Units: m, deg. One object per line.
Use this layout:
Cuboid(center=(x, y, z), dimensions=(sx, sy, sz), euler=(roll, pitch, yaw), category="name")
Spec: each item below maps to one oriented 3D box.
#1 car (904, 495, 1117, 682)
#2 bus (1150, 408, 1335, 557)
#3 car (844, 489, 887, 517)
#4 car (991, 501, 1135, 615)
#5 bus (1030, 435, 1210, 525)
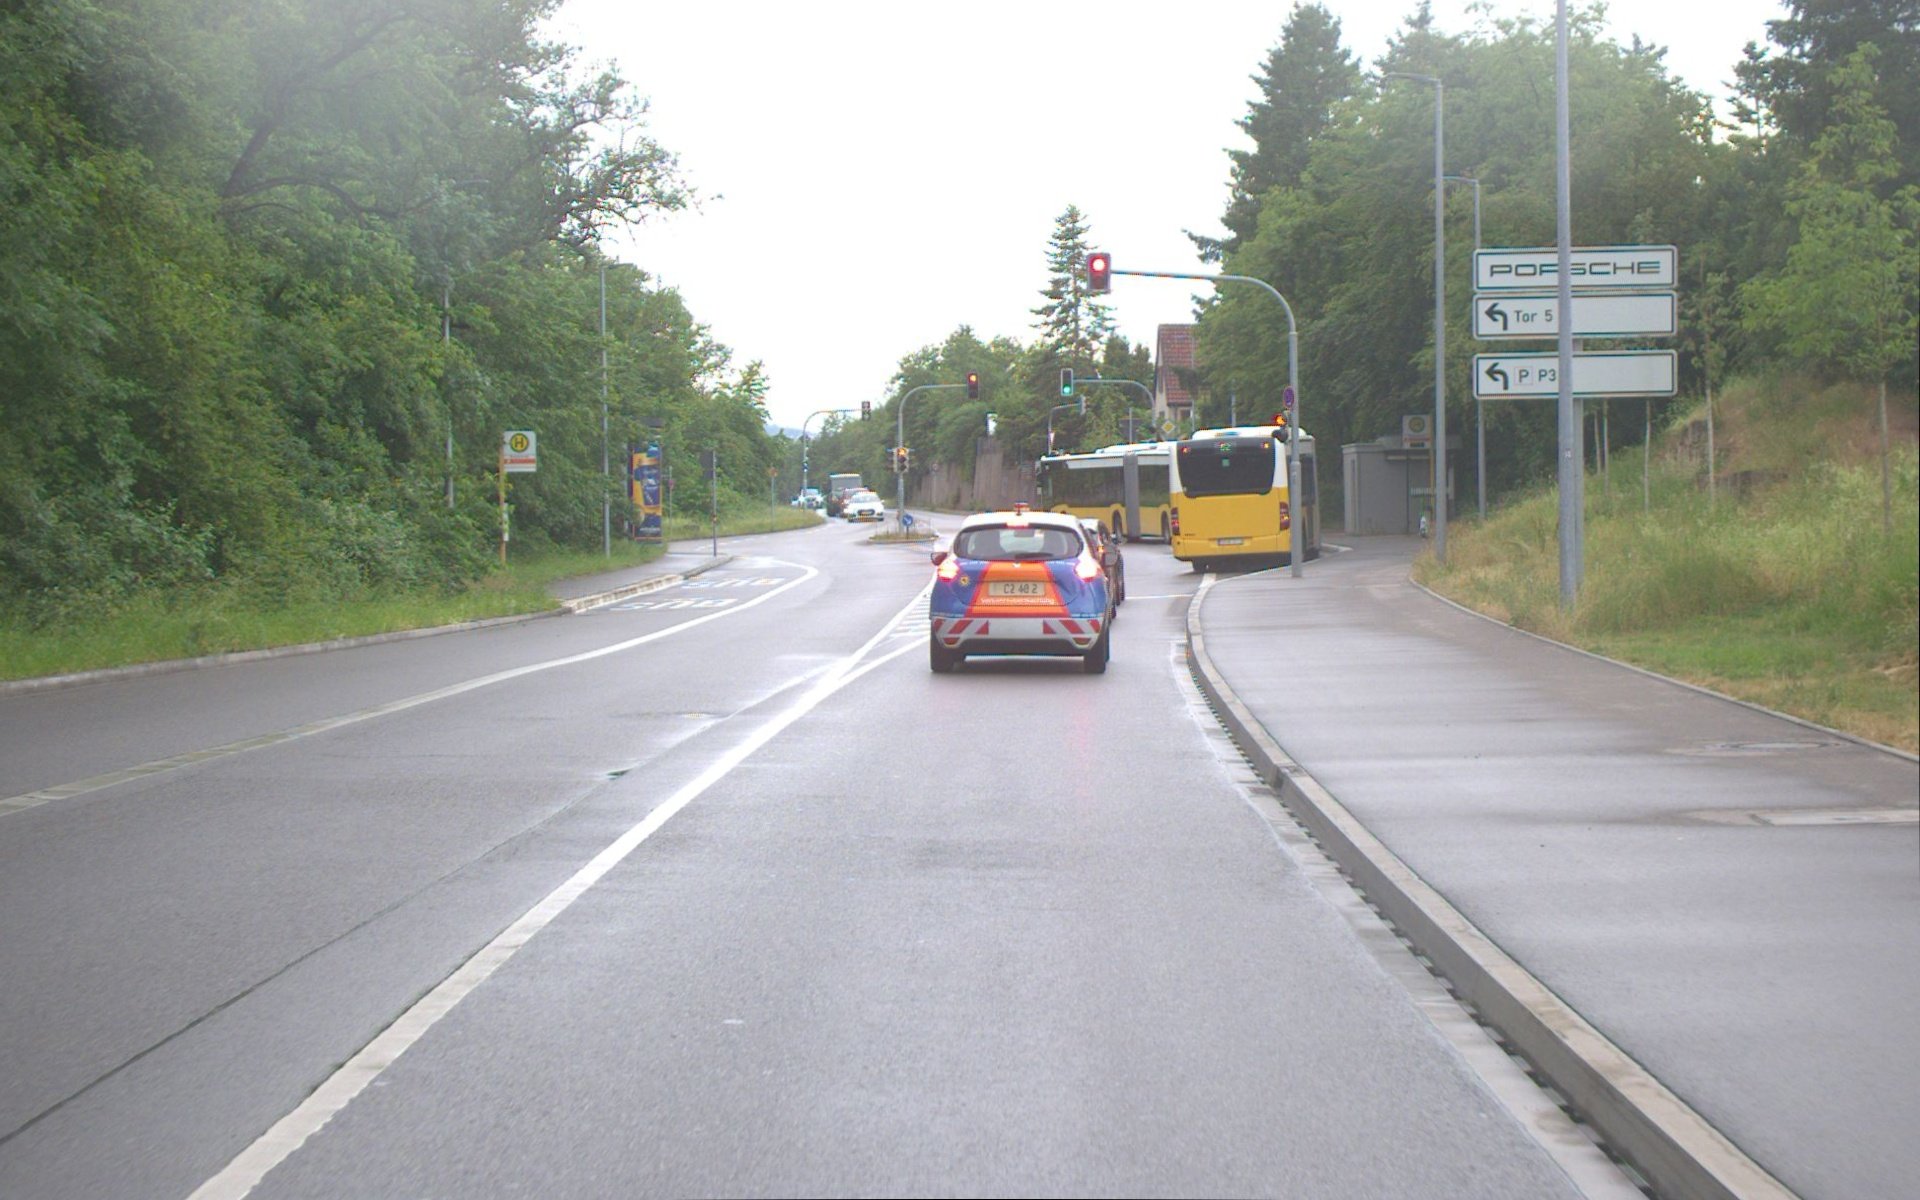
Cuboid(center=(0.503, -0.167, 34.614), dimensions=(1.993, 1.683, 4.001), euler=(-1, 2, 1), category="car")
Cuboid(center=(6.432, -2.553, 76.899), dimensions=(2.818, 3.132, 9.175), euler=(1, 1, 13), category="bus")
Cuboid(center=(-4.873, -5.002, 177.223), dimensions=(1.993, 1.415, 4.001), euler=(1, 1, -5), category="car")
Cuboid(center=(1.444, -0.635, 49.489), dimensions=(1.927, 1.481, 3.800), euler=(-1, 2, 0), category="car")
Cuboid(center=(5.139, -3.873, 113.183), dimensions=(2.816, 2.796, 10.643), euler=(0, 1, -15), category="bus")
